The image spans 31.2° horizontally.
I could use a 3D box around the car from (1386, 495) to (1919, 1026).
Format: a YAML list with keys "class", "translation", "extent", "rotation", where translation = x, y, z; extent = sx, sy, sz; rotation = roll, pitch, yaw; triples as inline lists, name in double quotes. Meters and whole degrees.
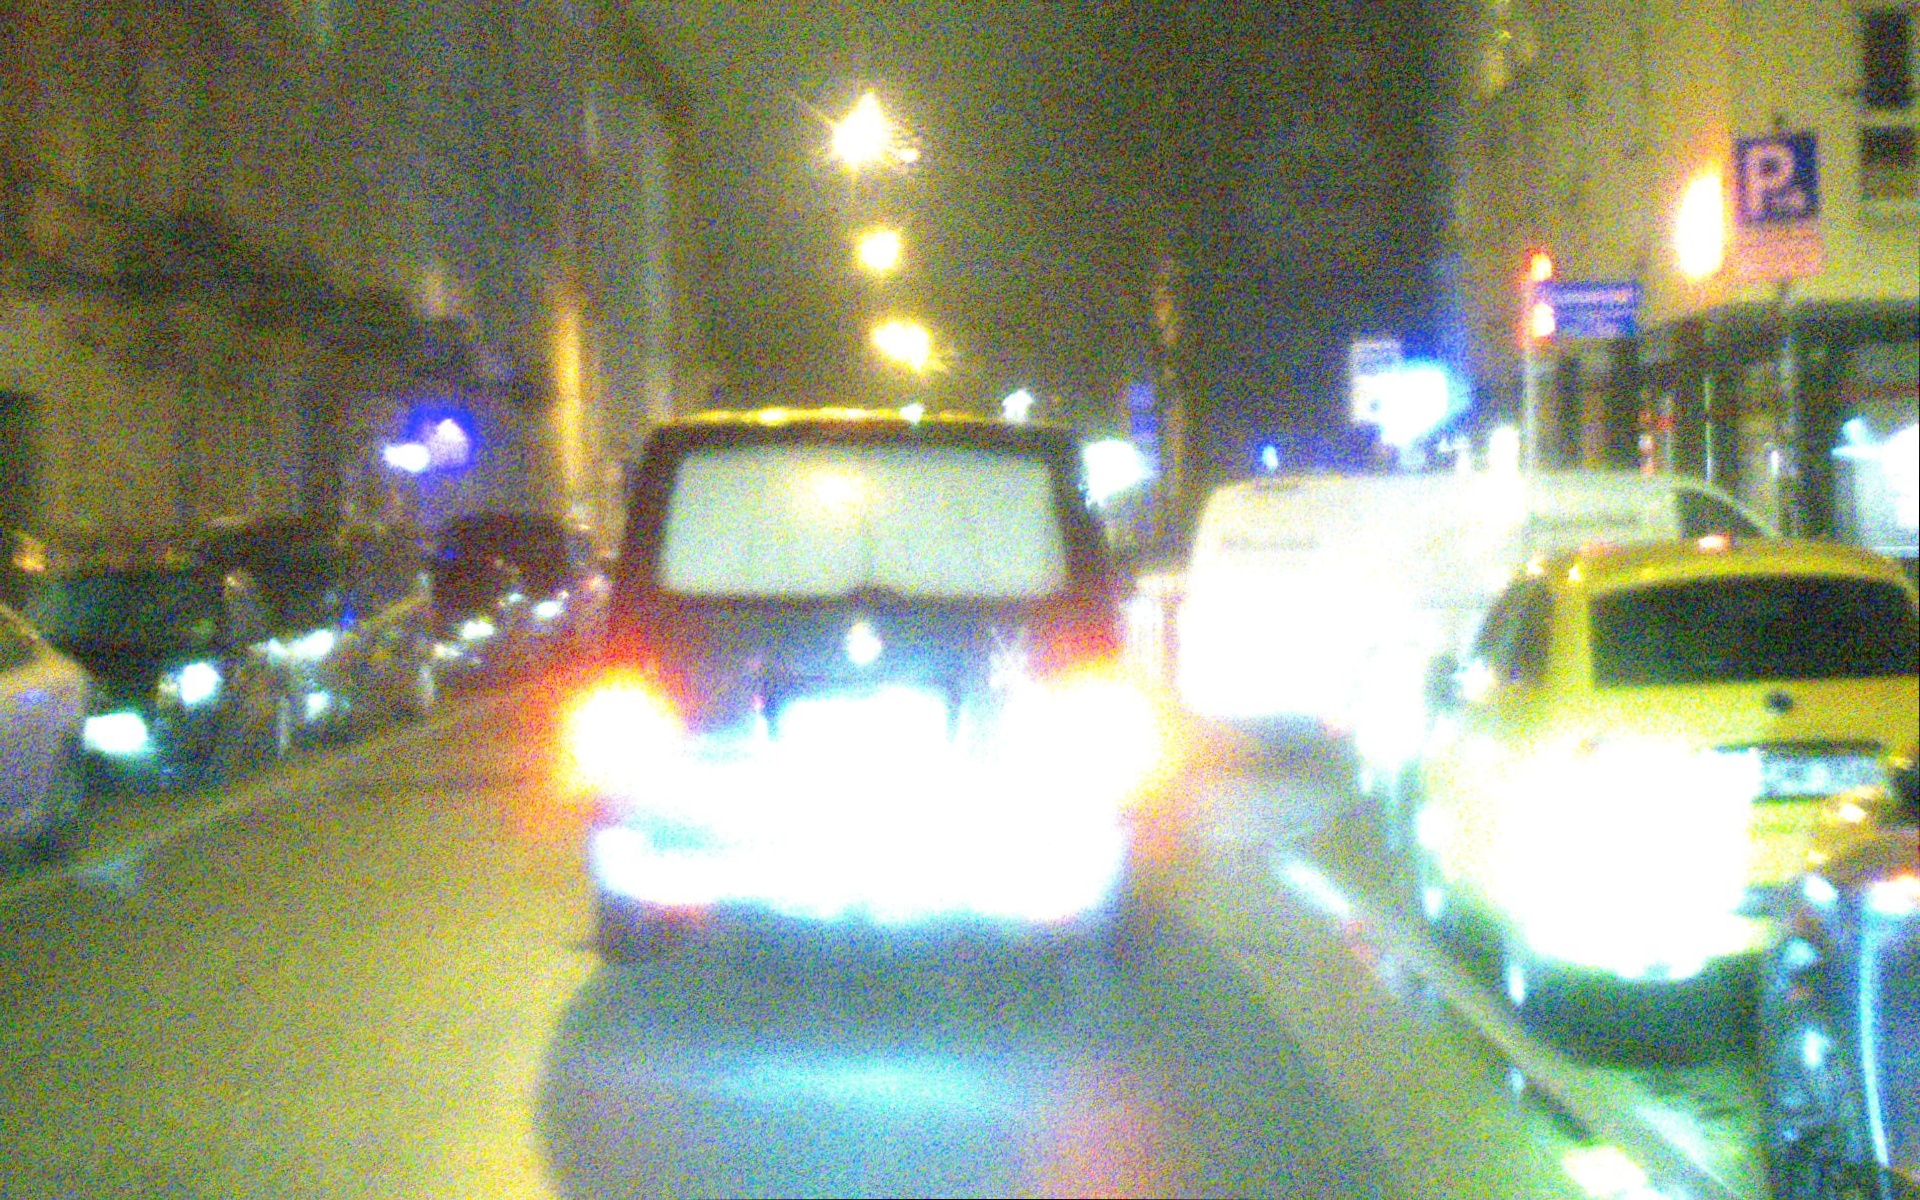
- class: "car"
  translation: [2.458, 0.462, 11.694]
  extent: [1.592, 1.538, 3.420]
  rotation: [0, 0, 0]

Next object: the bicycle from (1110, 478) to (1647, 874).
- class: "bicycle"
  translation: [1.937, 0.349, 16.164]
  extent: [2.321, 1.633, 0.888]
  rotation: [-5, 0, 4]

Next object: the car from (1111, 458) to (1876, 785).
- class: "car"
  translation: [3.530, 0.072, 22.377]
  extent: [4.811, 1.915, 2.129]
  rotation: [-1, 1, -36]

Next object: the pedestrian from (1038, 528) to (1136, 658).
- class: "pedestrian"
  translation: [1.671, -0.083, 45.438]
  extent: [1.226, 1.670, 0.697]
  rotation: [-2, -1, 0]

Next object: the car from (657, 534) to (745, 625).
- class: "car"
  translation: [-5.902, -0.477, 78.813]
  extent: [1.749, 2.007, 4.000]
  rotation: [1, 1, -1]

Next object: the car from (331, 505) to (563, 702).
- class: "car"
  translation: [-5.530, 0.016, 37.521]
  extent: [1.993, 2.007, 4.000]
  rotation: [1, 1, -1]

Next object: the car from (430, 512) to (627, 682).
- class: "car"
  translation: [-5.377, -0.060, 43.265]
  extent: [1.993, 2.007, 4.000]
  rotation: [1, 1, -1]

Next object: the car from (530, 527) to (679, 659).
- class: "car"
  translation: [-5.609, -0.129, 54.673]
  extent: [1.993, 2.007, 4.000]
  rotation: [1, 1, -1]

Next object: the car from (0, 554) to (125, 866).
- class: "car"
  translation: [-5.408, 0.521, 16.215]
  extent: [1.754, 1.444, 4.623]
  rotation: [1, 1, 0]

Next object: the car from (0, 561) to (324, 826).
- class: "car"
  translation: [-5.220, 0.494, 21.030]
  extent: [1.993, 1.444, 4.000]
  rotation: [1, 1, -1]

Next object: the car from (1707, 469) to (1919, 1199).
- class: "car"
  translation: [2.533, 0.581, 5.391]
  extent: [1.753, 1.602, 3.990]
  rotation: [0, 0, -2]

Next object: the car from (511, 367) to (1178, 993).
- class: "car"
  translation: [-0.531, 0.210, 13.331]
  extent: [2.122, 1.984, 4.602]
  rotation: [-1, 1, -4]

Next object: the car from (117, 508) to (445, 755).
- class: "car"
  translation: [-5.486, 0.219, 28.261]
  extent: [1.993, 1.856, 4.094]
  rotation: [1, 1, -2]
